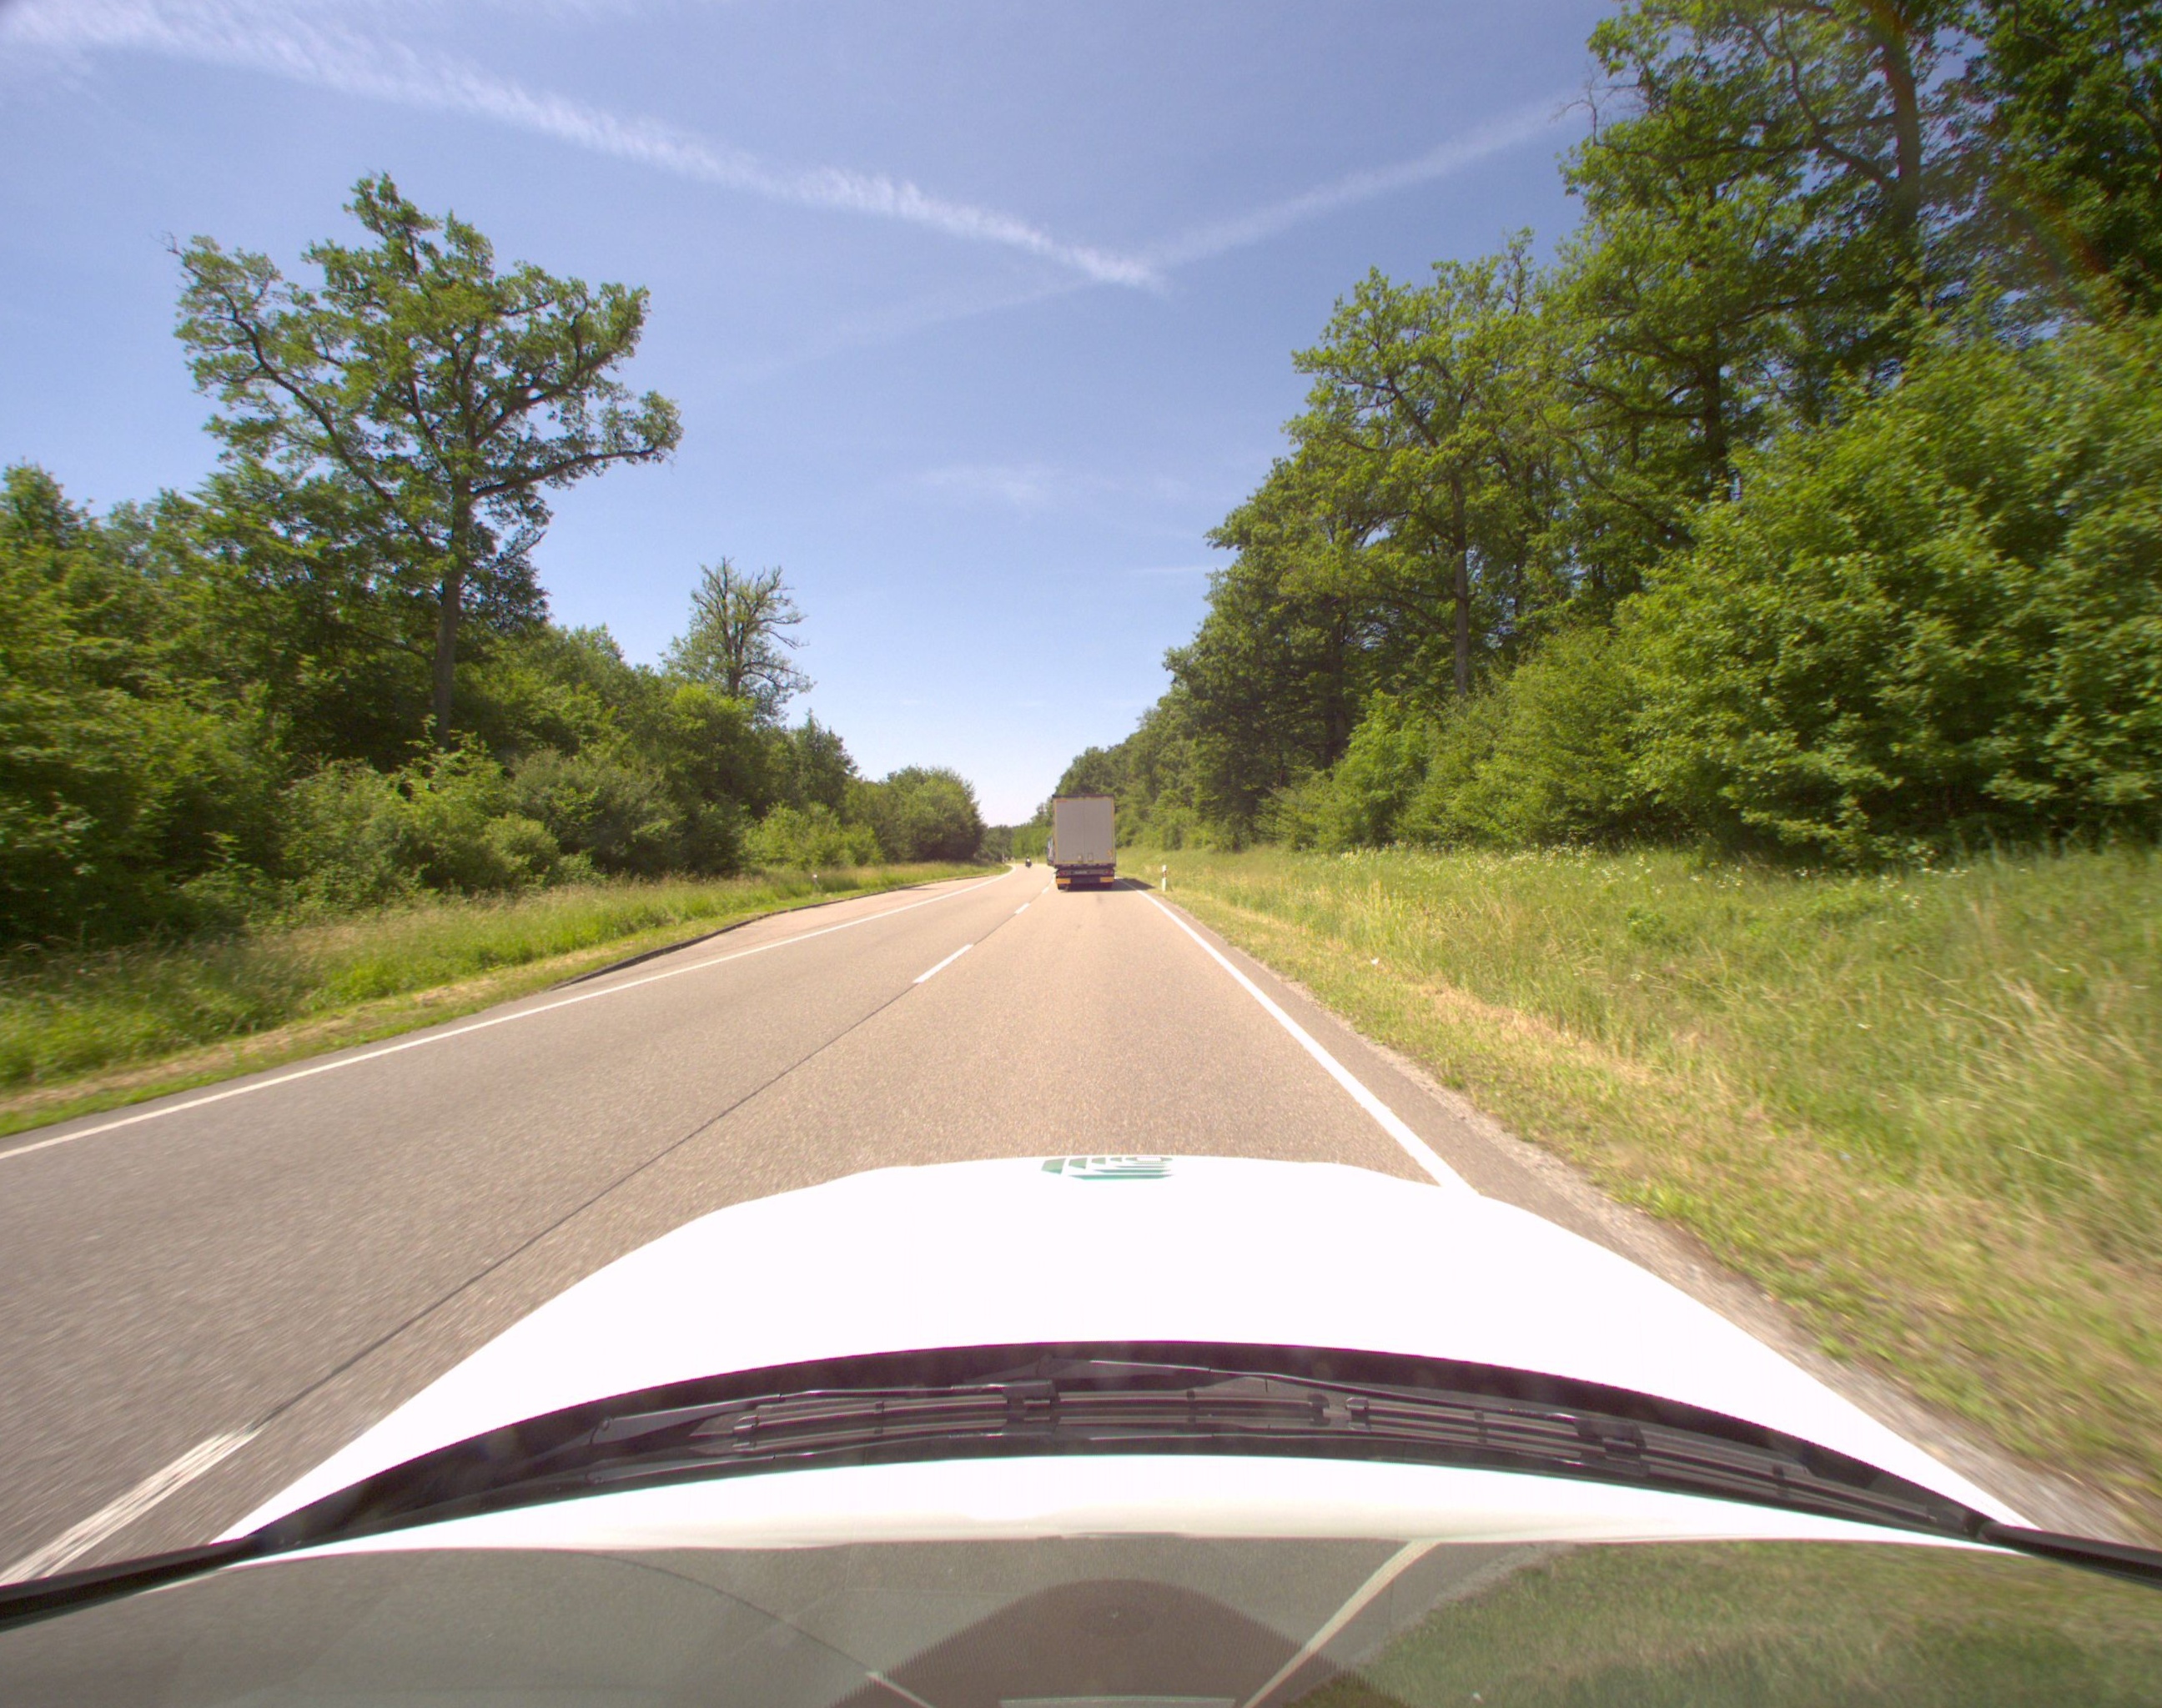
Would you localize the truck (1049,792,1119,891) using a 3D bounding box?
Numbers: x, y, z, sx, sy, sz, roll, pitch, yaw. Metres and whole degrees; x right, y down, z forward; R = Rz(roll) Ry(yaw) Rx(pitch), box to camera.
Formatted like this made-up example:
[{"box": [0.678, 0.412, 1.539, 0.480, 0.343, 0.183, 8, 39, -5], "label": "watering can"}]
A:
[{"box": [0.172, -0.487, 39.080, 2.752, 3.947, 12.197, -1, 0, 0], "label": "truck"}]

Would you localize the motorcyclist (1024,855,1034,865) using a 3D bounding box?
[{"box": [-6.412, 0.737, 100.515, 1.006, 1.327, 0.966, -1, 0, 2], "label": "motorcyclist"}]

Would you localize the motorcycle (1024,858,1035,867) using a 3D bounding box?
[{"box": [-6.405, 1.064, 100.543, 1.010, 1.062, 2.774, -2, 0, 3], "label": "motorcycle"}]

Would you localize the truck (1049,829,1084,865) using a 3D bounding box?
[{"box": [-2.070, -0.848, 107.251, 3.786, 4.373, 14.896, 0, 0, -4], "label": "truck"}]
